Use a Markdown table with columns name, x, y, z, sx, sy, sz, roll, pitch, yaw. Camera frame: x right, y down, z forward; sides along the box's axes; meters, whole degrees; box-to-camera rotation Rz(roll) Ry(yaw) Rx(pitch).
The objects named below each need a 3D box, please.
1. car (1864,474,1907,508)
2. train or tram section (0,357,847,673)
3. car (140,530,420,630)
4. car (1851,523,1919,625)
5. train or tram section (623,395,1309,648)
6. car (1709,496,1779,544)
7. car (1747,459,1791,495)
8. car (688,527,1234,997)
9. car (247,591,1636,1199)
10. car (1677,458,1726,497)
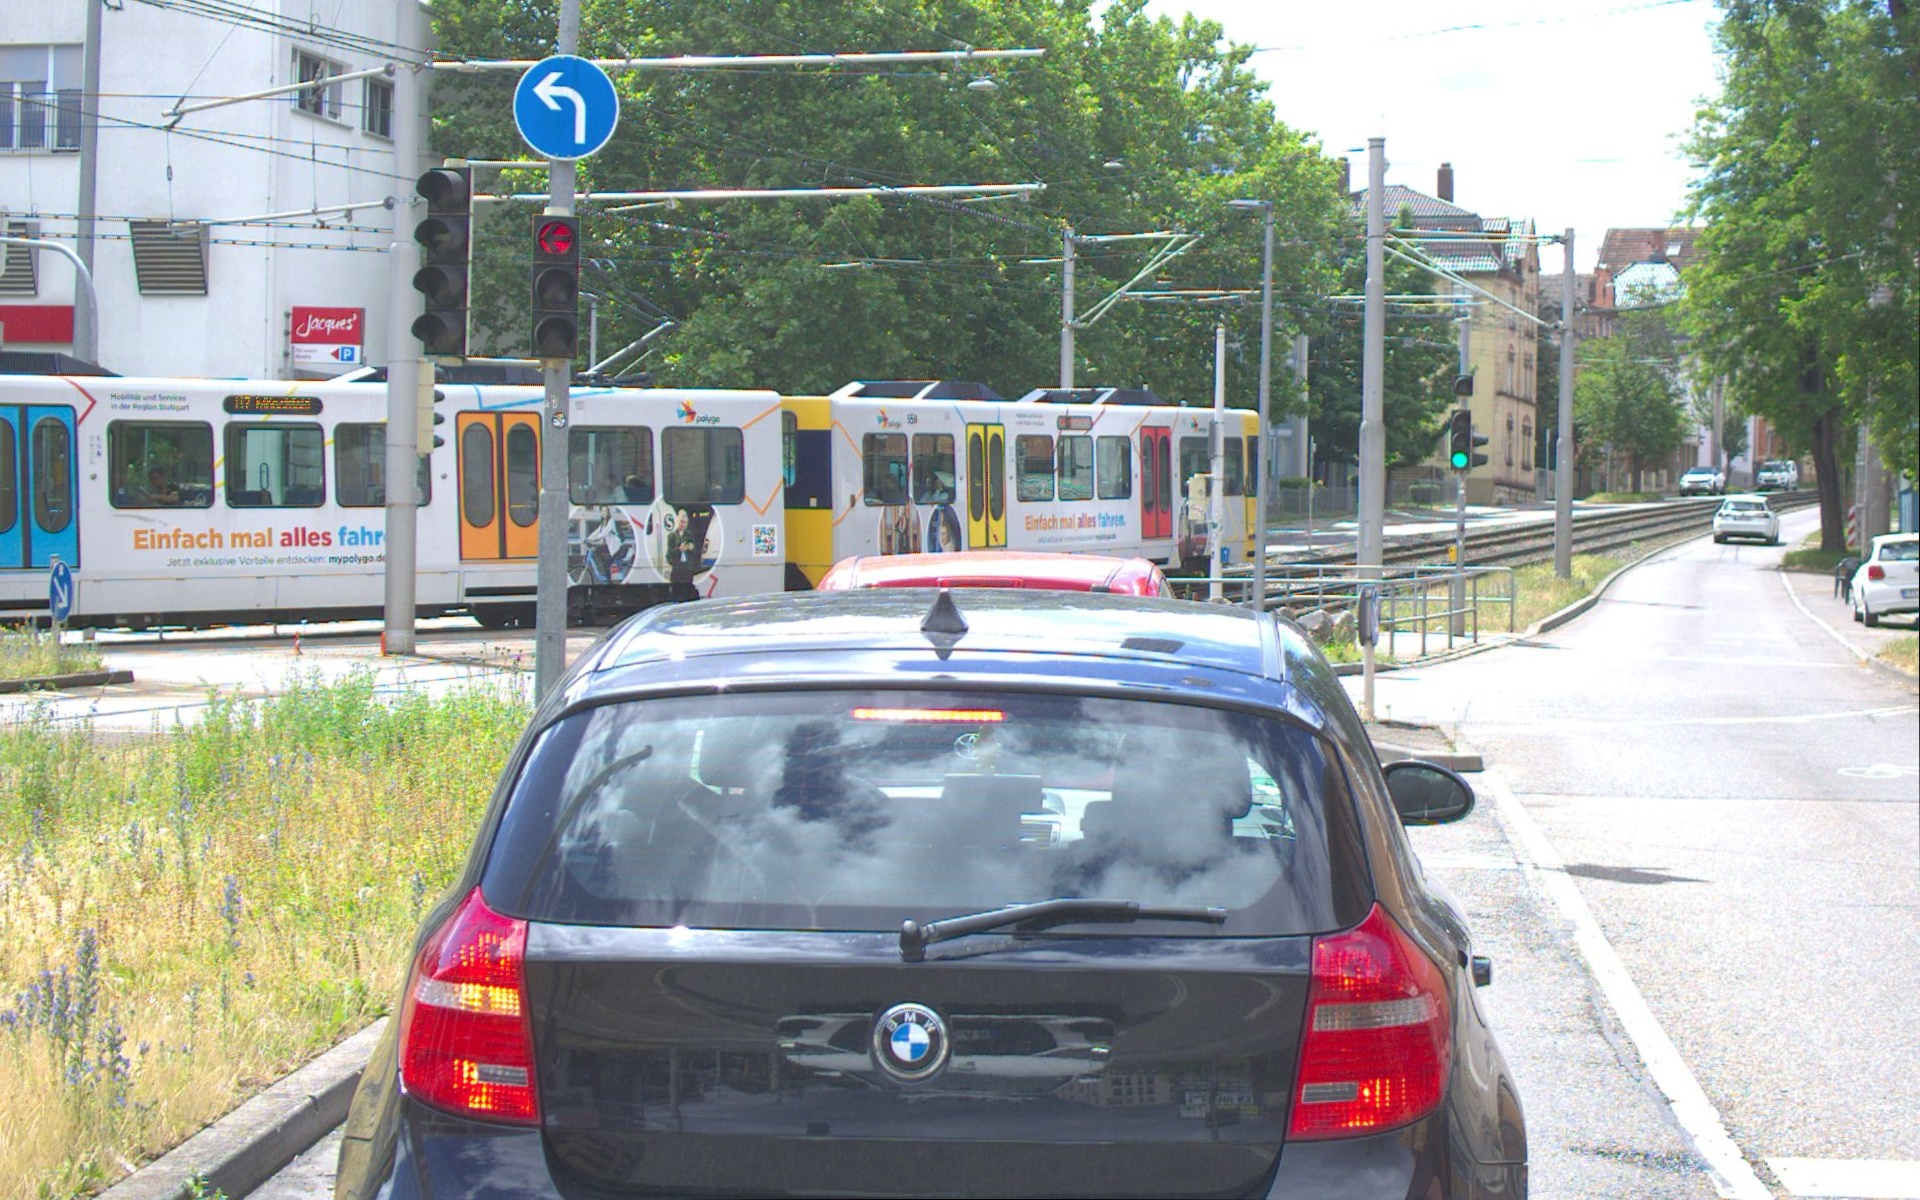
| name | x | y | z | sx | sy | sz | roll | pitch | yaw |
| --- | --- | --- | --- | --- | --- | --- | --- | --- | --- |
| car | 43.369 | -5.089 | 161.142 | 1.816 | 1.463 | 3.997 | 3 | 2 | 15 |
| train or tram section | -10.440 | -1.063 | 45.976 | 20.579 | 3.866 | 3.759 | -1 | 0 | -44 |
| car | -11.167 | -0.332 | 56.593 | 4.158 | 1.579 | 1.858 | -1 | 0 | -43 |
| car | 15.472 | -0.415 | 55.871 | 1.788 | 1.590 | 3.998 | 0 | 0 | 13 |
| train or tram section | 0.922 | -1.242 | 61.518 | 3.754 | 3.801 | 20.022 | 0 | 0 | 26 |
| car | 24.468 | -2.485 | 107.176 | 1.817 | 1.463 | 3.997 | 0 | 1 | 17 |
| car | 48.741 | -7.396 | 207.038 | 1.996 | 2.007 | 3.996 | 0 | 0 | 21 |
| car | 0.156 | 0.504 | 12.812 | 1.625 | 1.468 | 3.999 | 0 | 0 | 6 |
| car | -0.110 | 0.715 | 6.217 | 1.701 | 1.447 | 4.000 | 0 | 0 | -3 |
| car | 40.508 | -6.689 | 187.741 | 1.996 | 2.007 | 3.996 | 0 | 0 | 21 |
